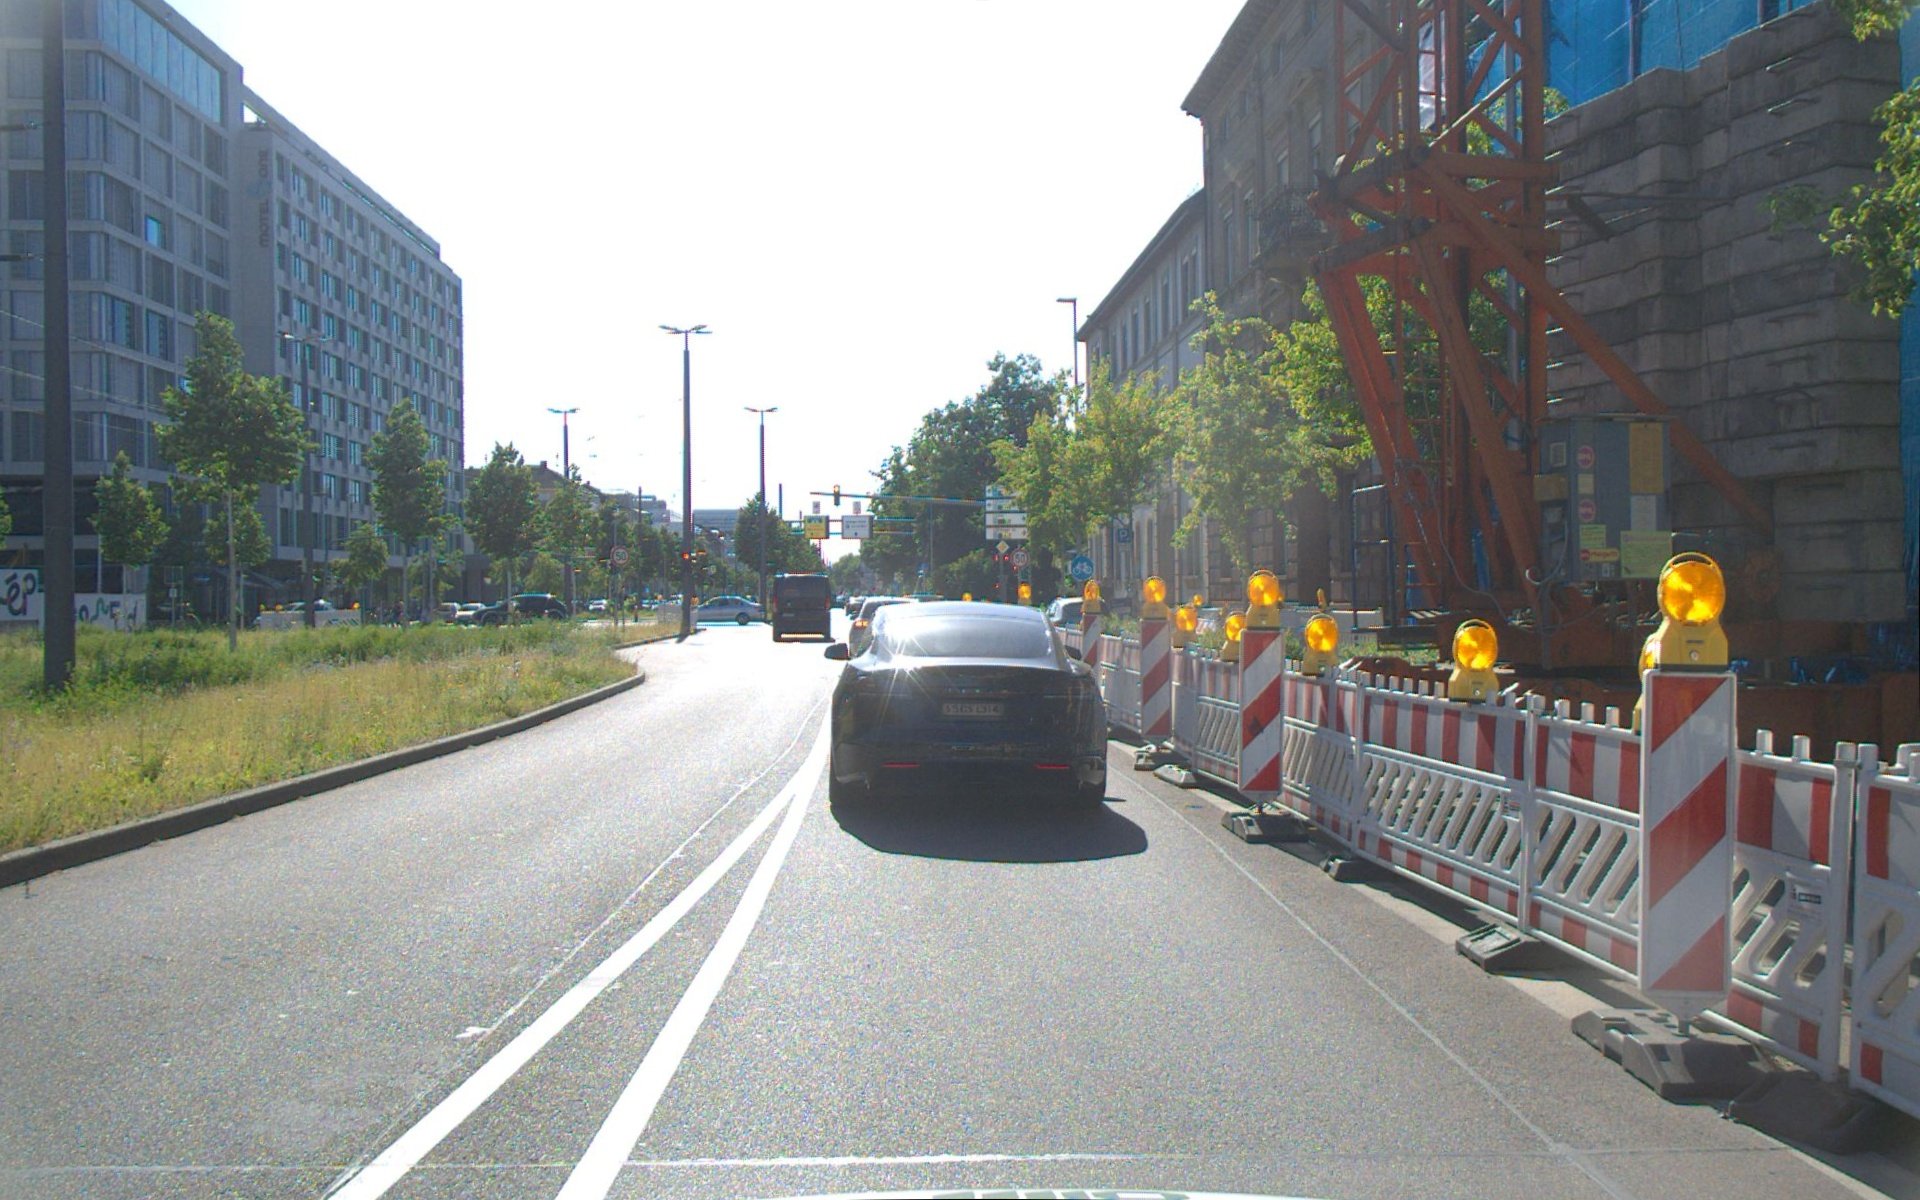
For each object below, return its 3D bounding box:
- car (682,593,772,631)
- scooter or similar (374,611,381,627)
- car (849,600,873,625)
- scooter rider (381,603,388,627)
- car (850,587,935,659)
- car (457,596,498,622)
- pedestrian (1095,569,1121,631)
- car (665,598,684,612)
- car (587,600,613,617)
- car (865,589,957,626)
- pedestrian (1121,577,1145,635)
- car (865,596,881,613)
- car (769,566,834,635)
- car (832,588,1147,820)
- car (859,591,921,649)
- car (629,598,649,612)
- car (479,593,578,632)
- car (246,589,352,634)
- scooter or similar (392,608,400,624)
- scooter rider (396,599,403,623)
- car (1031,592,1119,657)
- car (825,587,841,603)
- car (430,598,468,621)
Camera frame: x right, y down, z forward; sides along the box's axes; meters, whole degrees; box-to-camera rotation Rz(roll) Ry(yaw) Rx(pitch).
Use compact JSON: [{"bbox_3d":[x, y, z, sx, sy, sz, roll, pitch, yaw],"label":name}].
[{"bbox_3d":[-11.912,0.601,84.777,4.425,1.824,1.998,-1,0,-6],"label":"car"},{"bbox_3d":[-35.997,1.180,102.279,0.280,0.964,0.765,-1,0,-11],"label":"scooter or similar"},{"bbox_3d":[-7.796,0.994,129.823,1.757,1.906,3.846,1,0,-5],"label":"car"},{"bbox_3d":[-35.642,0.904,102.474,0.335,1.478,0.239,-1,0,-3],"label":"scooter rider"},{"bbox_3d":[-1.516,0.451,35.976,1.713,1.452,4.835,0,0,-4],"label":"car"},{"bbox_3d":[-32.222,0.607,110.536,1.754,1.680,3.998,-1,0,-3],"label":"car"},{"bbox_3d":[4.766,0.012,53.245,0.645,1.946,0.587,-3,0,-4],"label":"pedestrian"},{"bbox_3d":[-35.662,0.612,206.704,1.772,1.680,3.998,-1,0,-3],"label":"car"},{"bbox_3d":[-35.293,0.811,162.236,1.754,1.680,3.998,-1,0,-3],"label":"car"},{"bbox_3d":[-2.478,0.360,84.283,4.416,1.824,2.002,-1,0,6],"label":"car"},{"bbox_3d":[5.574,0.193,53.317,0.552,1.852,0.587,-3,0,-4],"label":"pedestrian"},{"bbox_3d":[-10.450,0.539,197.713,1.757,1.906,3.846,1,0,-5],"label":"car"},{"bbox_3d":[-5.527,-0.009,58.165,2.174,2.307,4.480,1,1,-5],"label":"car"},{"bbox_3d":[0.056,0.662,12.912,2.011,1.469,4.521,1,0,-4],"label":"car"},{"bbox_3d":[-2.022,0.540,47.594,1.715,1.554,4.002,1,0,-3],"label":"car"},{"bbox_3d":[-39.020,0.626,201.187,1.754,1.680,3.998,-1,0,-3],"label":"car"},{"bbox_3d":[-21.198,0.602,81.216,4.452,1.824,1.986,-1,0,-24],"label":"car"},{"bbox_3d":[-29.306,0.486,73.384,1.882,1.952,3.960,0,0,43],"label":"car"},{"bbox_3d":[-34.900,0.981,102.379,0.224,0.964,0.767,-1,0,-3],"label":"scooter or similar"},{"bbox_3d":[-34.711,0.705,102.473,0.335,1.478,0.239,-1,0,-3],"label":"scooter rider"},{"bbox_3d":[2.925,0.591,42.937,1.615,1.501,4.697,-3,0,-4],"label":"car"},{"bbox_3d":[-15.310,-0.546,199.290,1.757,1.906,3.846,1,0,-5],"label":"car"},{"bbox_3d":[-38.308,0.724,124.015,1.754,1.680,3.998,-1,0,-3],"label":"car"}]
